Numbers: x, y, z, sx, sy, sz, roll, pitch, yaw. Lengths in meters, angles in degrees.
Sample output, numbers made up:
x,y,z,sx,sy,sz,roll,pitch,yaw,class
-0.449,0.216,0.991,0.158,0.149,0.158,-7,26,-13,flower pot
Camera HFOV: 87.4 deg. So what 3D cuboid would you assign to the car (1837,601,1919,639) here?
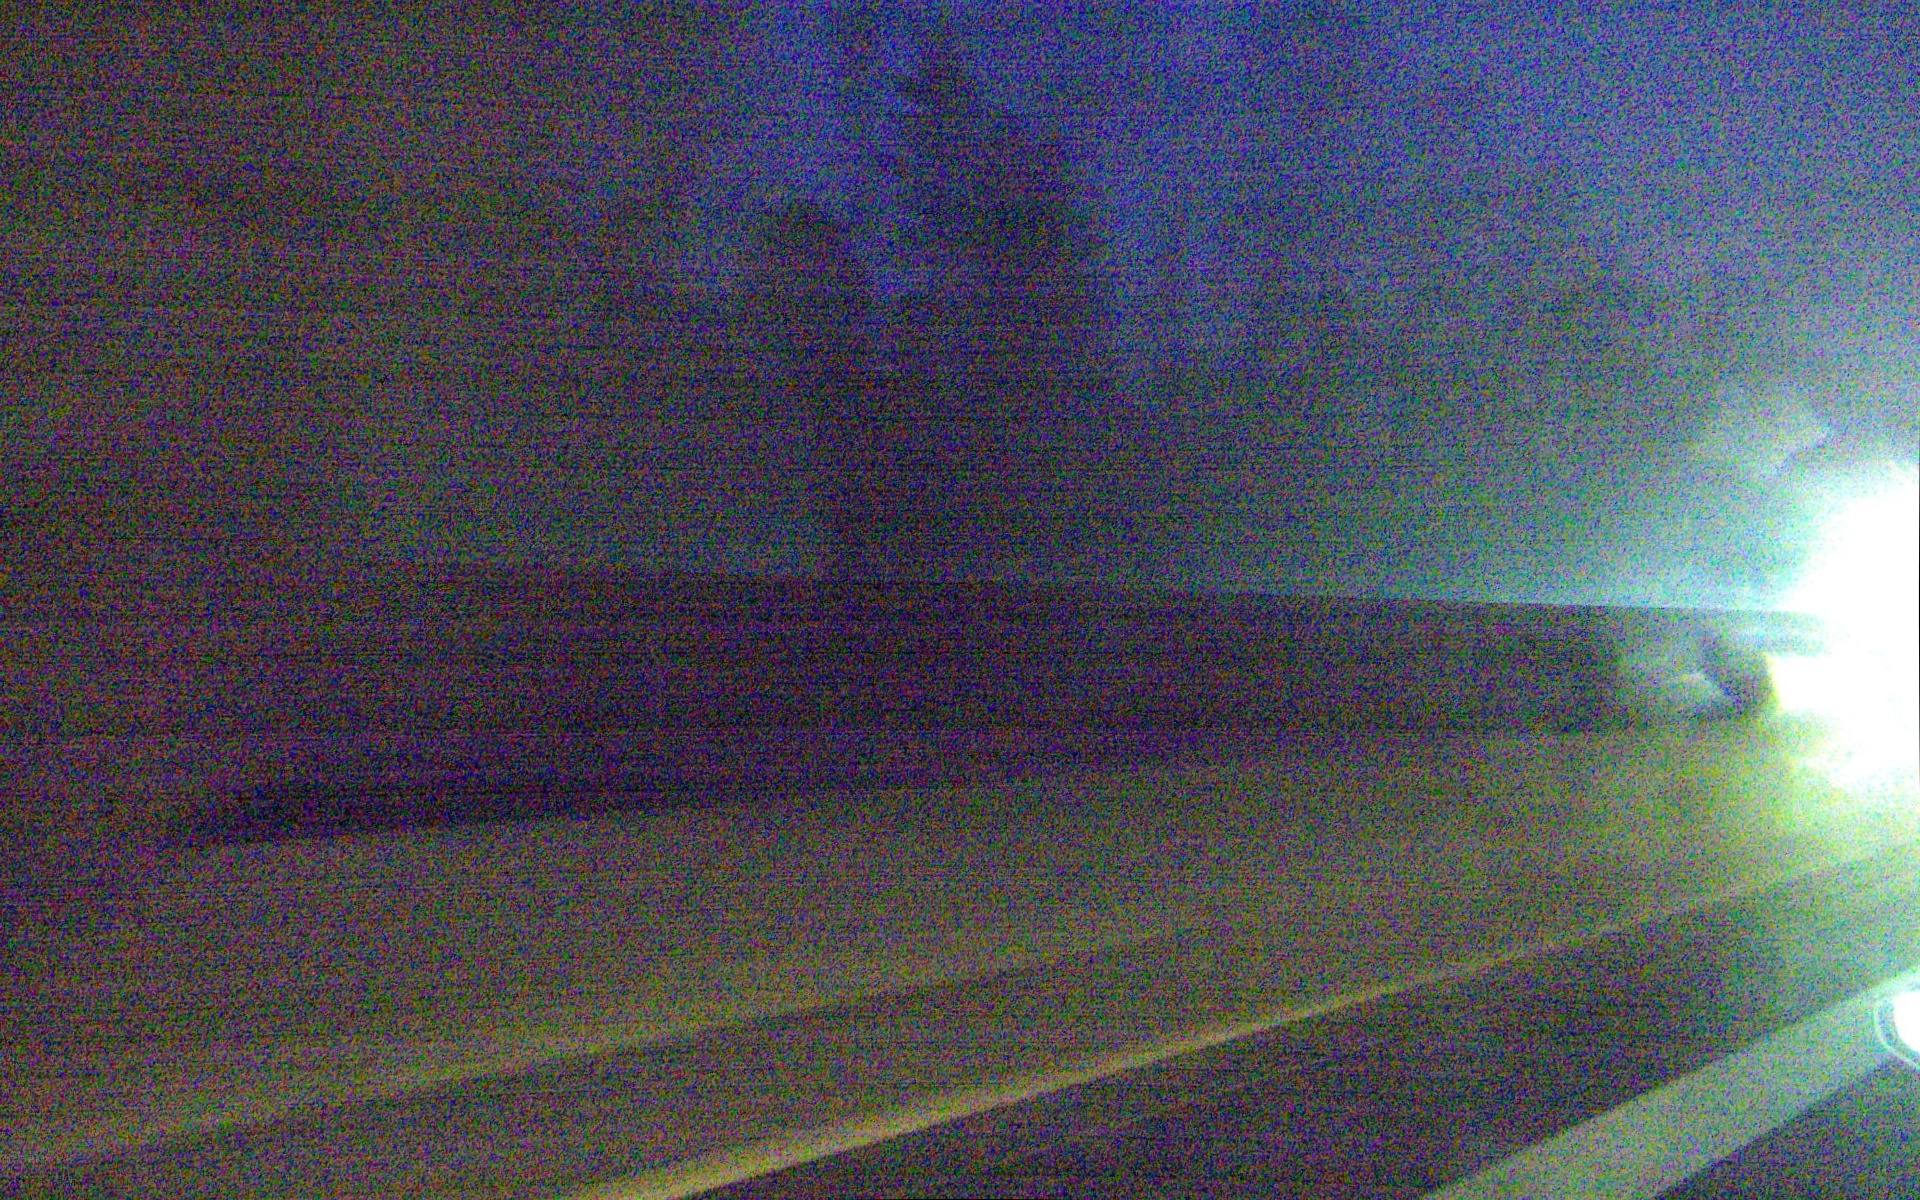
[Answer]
x,y,z,sx,sy,sz,roll,pitch,yaw,class
45.851,0.952,50.144,3.955,1.627,1.982,0,5,-32,car
